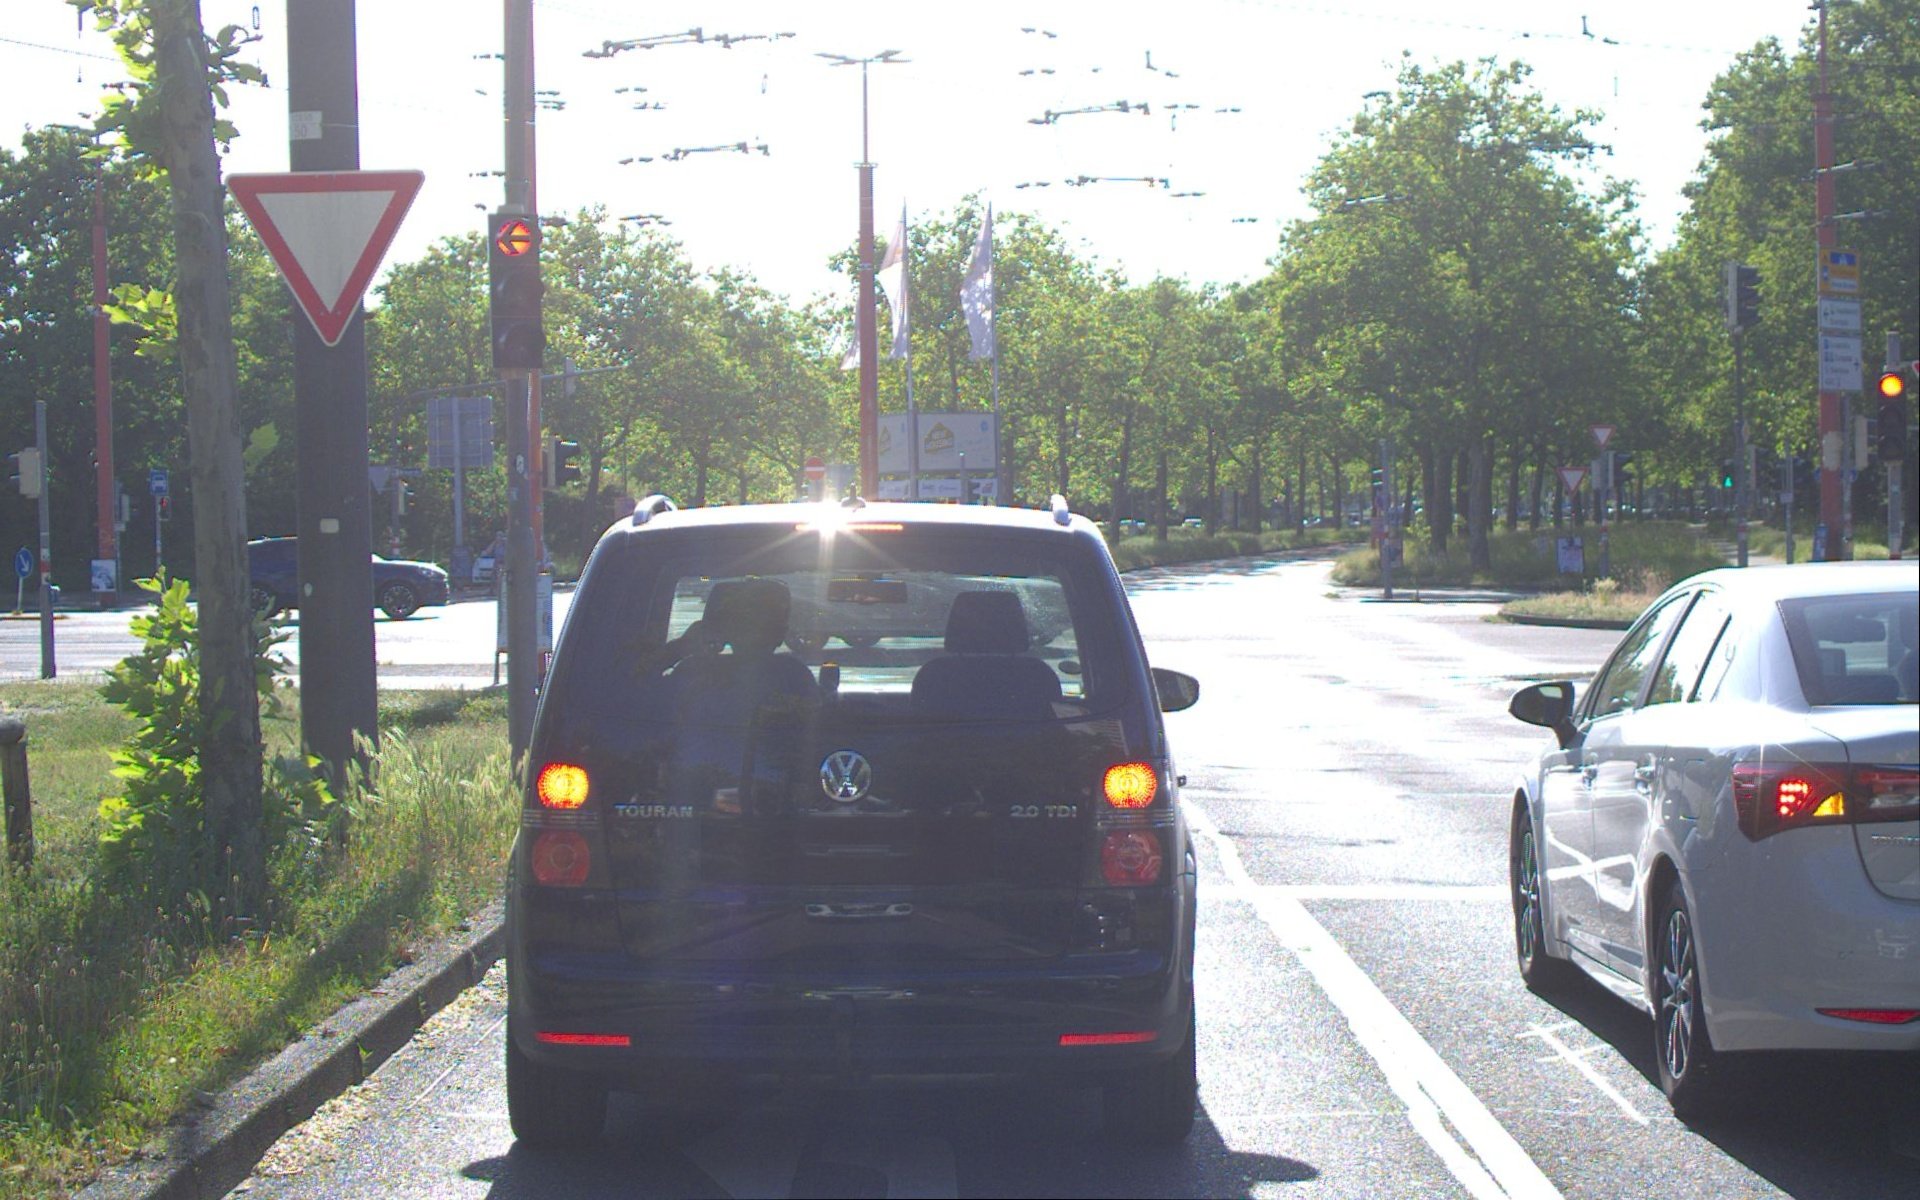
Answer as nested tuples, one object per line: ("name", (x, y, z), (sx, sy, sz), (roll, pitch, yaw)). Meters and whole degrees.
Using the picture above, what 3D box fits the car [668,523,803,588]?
("car", (-5.951, -1.193, 91.714), (1.995, 1.679, 4.825), (0, 1, 17))

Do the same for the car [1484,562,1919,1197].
("car", (2.686, 0.631, 10.082), (1.715, 1.449, 4.144), (0, 1, 1))

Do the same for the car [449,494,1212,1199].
("car", (-0.318, 0.547, 9.881), (1.737, 1.635, 4.000), (0, 1, -1))

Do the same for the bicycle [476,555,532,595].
("bicycle", (-12.522, -0.682, 94.422), (0.735, 1.086, 1.959), (0, 1, 18))

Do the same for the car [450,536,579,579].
("car", (-13.908, -1.334, 107.511), (1.662, 1.305, 3.805), (0, 1, 43))

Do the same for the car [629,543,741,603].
("car", (-7.909, -0.804, 99.351), (1.994, 1.679, 4.826), (0, 1, 11))

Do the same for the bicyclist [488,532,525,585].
("bicyclist", (-12.492, -1.150, 94.634), (0.693, 1.452, 0.874), (0, 1, 18))

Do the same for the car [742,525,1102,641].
("car", (-0.555, -0.254, 48.920), (4.787, 1.592, 1.911), (0, 1, 27))

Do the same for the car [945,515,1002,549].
("car", (0.689, -3.428, 173.072), (1.994, 1.679, 4.826), (0, 1, 11))

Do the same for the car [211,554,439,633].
("car", (-12.264, -0.135, 66.599), (4.208, 1.459, 1.915), (0, 1, -6))
